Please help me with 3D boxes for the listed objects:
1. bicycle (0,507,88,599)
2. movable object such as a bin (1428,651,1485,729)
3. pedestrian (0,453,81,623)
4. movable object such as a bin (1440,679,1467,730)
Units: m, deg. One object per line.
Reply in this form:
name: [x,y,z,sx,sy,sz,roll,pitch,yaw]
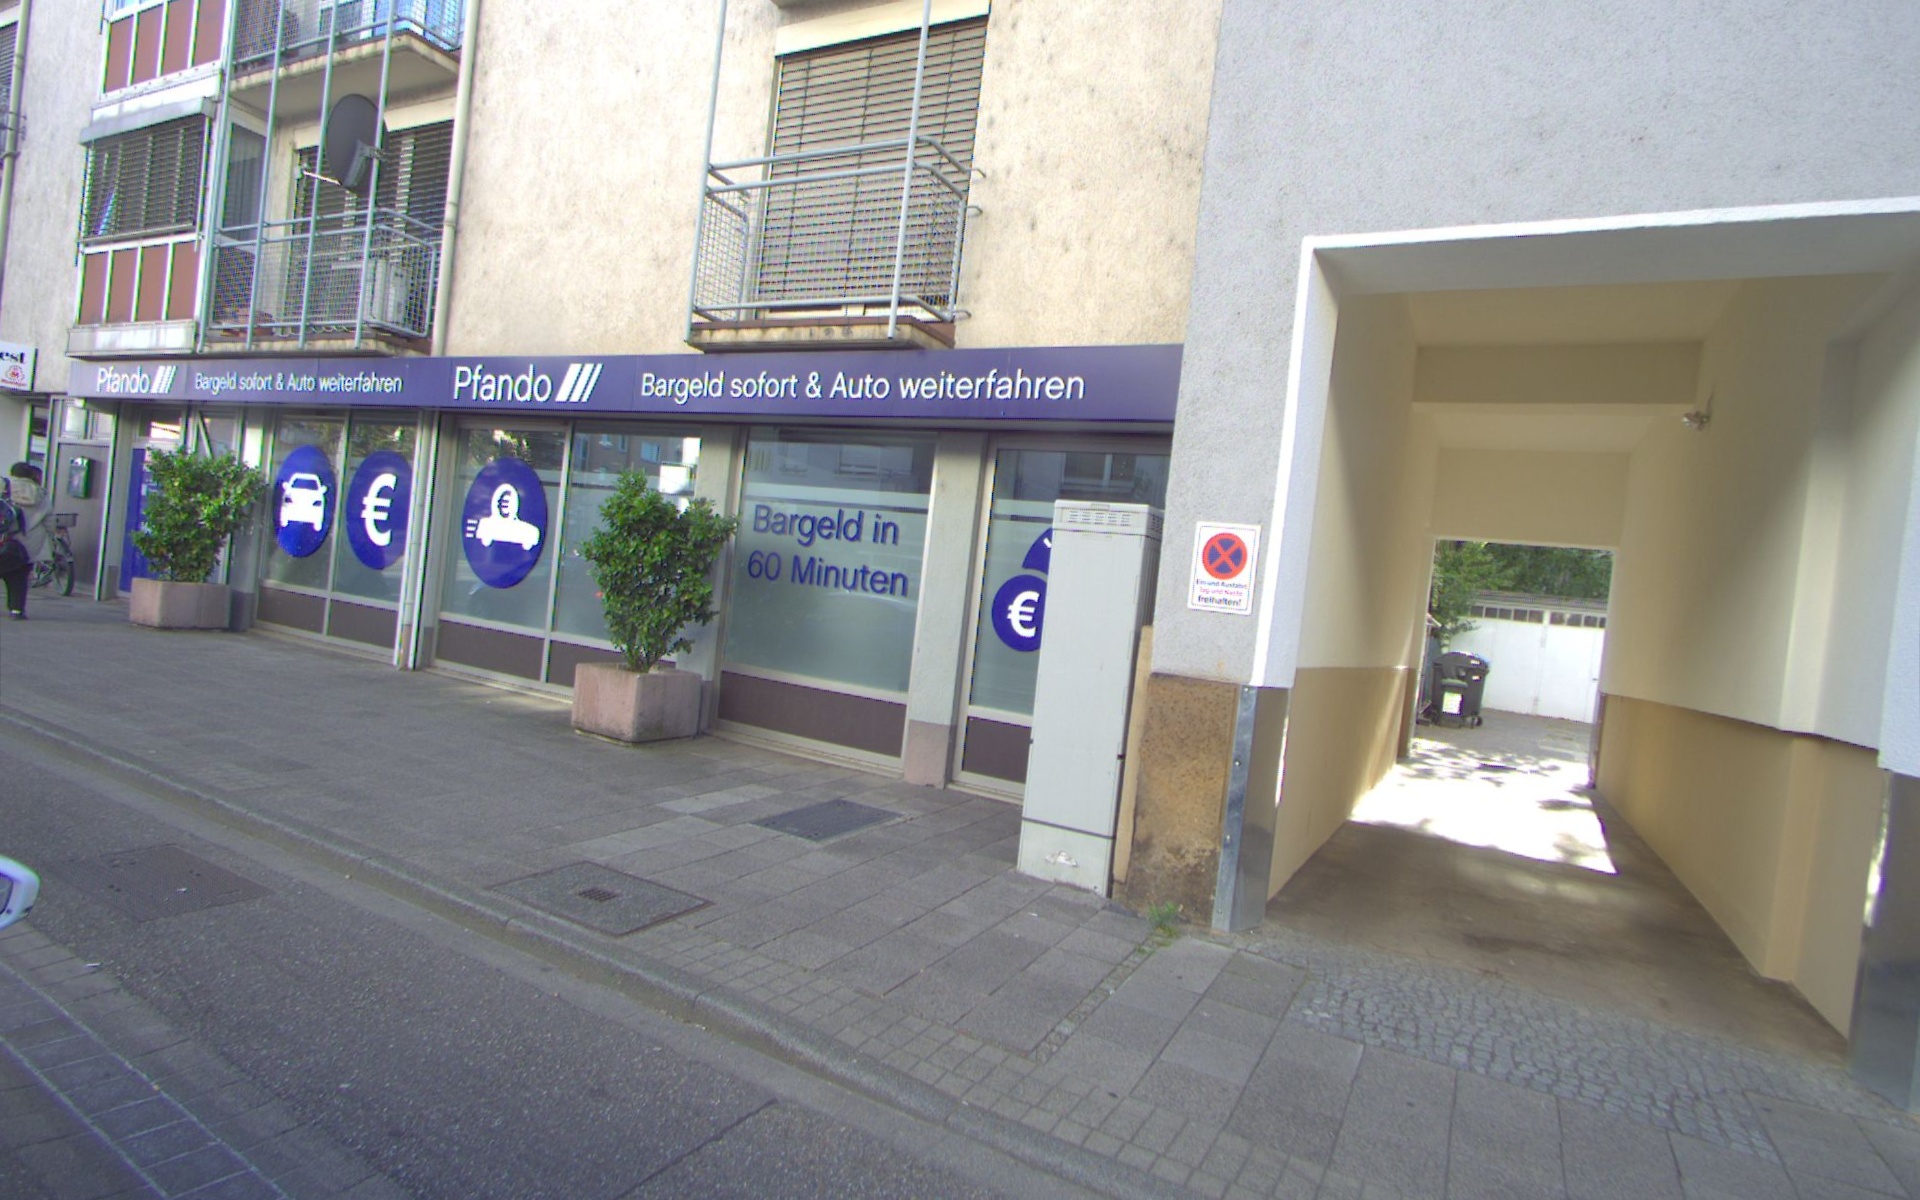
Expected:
bicycle: [-11.793,-0.615,12.758,1.678,1.010,0.543,6,-1,32]
movable object such as a bin: [9.961,1.788,20.179,0.873,1.411,0.758,7,2,28]
pedestrian: [-9.623,-0.640,10.133,0.738,1.611,0.827,6,-1,31]
movable object such as a bin: [9.540,2.023,19.459,0.365,0.920,0.420,7,2,28]
